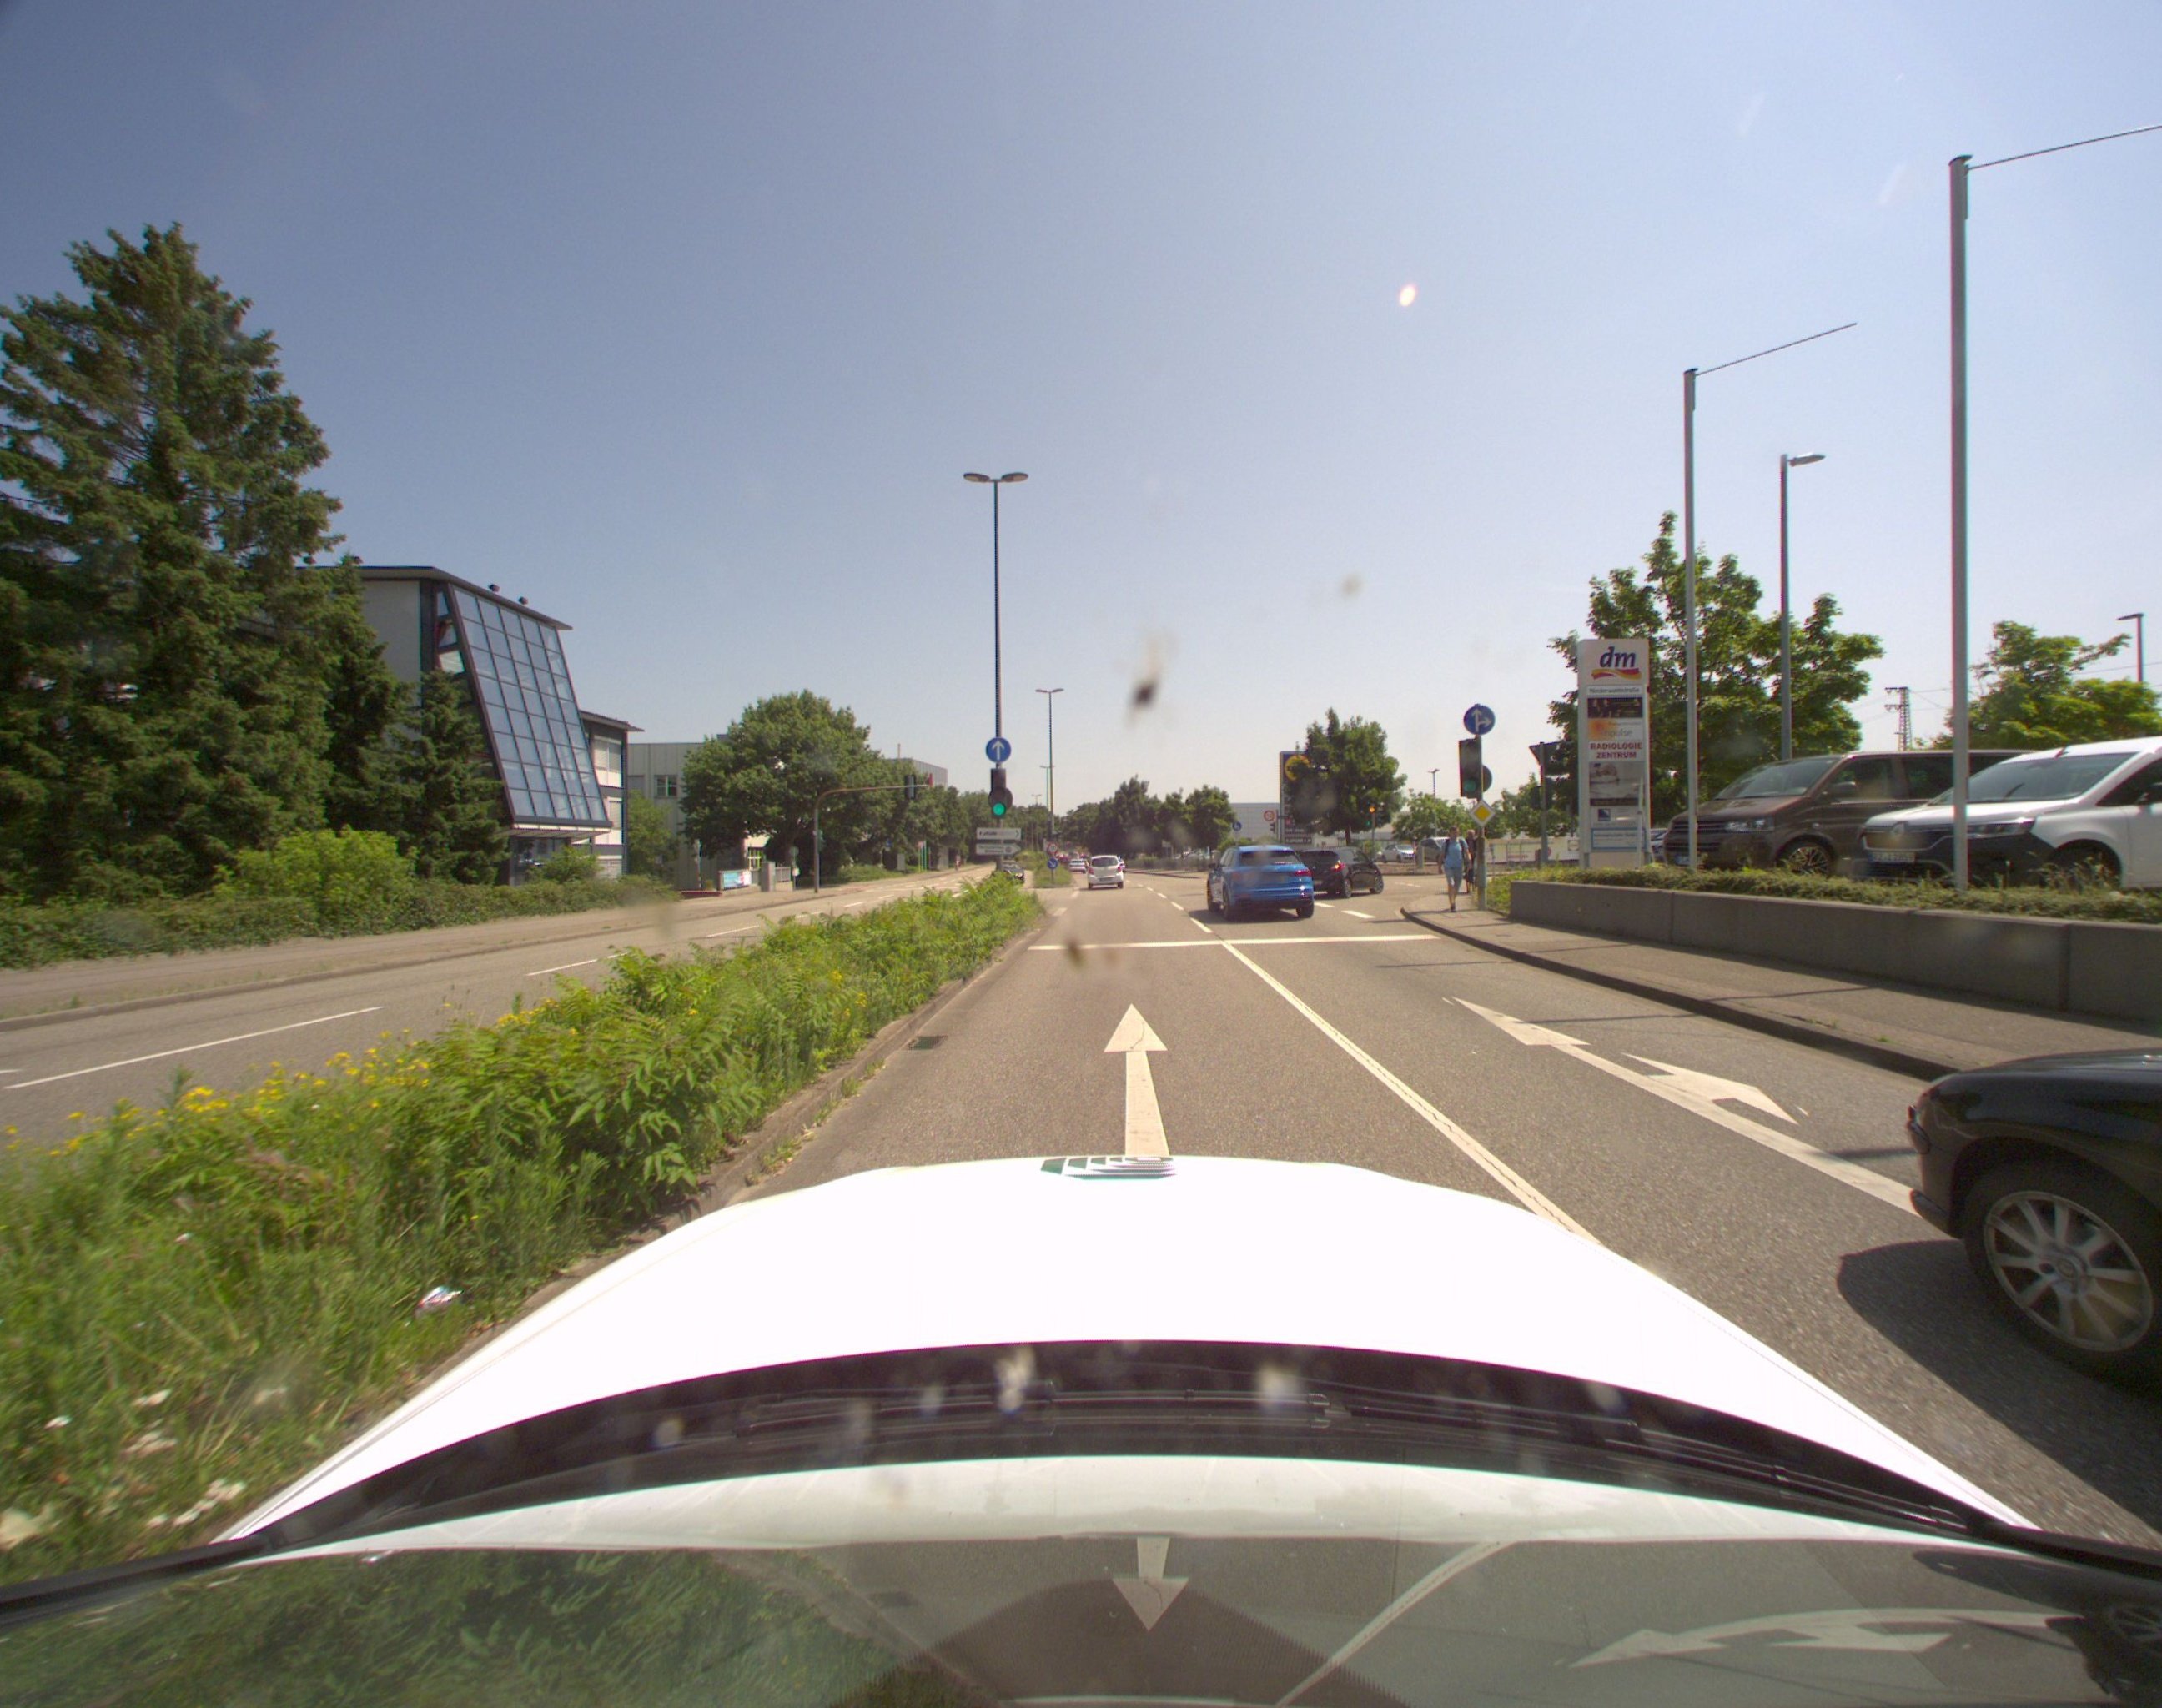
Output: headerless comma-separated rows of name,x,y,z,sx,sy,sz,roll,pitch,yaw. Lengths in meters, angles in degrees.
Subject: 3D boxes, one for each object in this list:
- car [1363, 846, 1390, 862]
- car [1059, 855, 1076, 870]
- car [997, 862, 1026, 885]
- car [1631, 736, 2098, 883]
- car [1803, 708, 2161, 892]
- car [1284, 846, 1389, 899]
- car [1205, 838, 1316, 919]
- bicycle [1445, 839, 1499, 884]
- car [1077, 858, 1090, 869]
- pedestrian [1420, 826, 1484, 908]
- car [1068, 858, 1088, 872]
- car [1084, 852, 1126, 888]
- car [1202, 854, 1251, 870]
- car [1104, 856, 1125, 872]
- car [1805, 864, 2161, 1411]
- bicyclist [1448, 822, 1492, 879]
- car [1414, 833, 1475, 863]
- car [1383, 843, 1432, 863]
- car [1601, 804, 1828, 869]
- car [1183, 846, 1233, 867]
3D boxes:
car,28.234,-0.002,77.813,1.263,1.420,2.952,-2,0,-5
car,-1.562,1.003,94.841,1.878,1.608,4.000,-2,0,0
car,-4.359,1.193,51.467,1.726,1.323,4.143,-2,-1,-4
car,11.065,-0.584,11.819,4.678,1.798,2.183,2,0,0
car,10.967,-0.484,8.890,4.393,1.699,2.000,2,-1,1
car,7.555,0.522,23.940,1.600,1.401,3.452,-2,0,43
car,3.957,0.498,18.632,1.801,1.593,4.353,-2,0,3
bicycle,10.319,0.197,21.582,0.753,1.133,1.912,0,-1,8
car,0.300,1.229,107.805,1.439,1.348,3.454,-2,0,-5
pedestrian,7.506,0.268,16.512,0.825,1.626,1.005,0,-2,1
car,-0.324,1.089,81.142,1.880,1.354,3.996,0,-1,-3
car,1.095,0.749,38.012,1.635,1.552,3.321,-2,-1,-3
car,13.040,0.705,73.092,3.988,1.421,1.695,-1,0,-4
car,3.248,0.996,78.793,1.859,1.473,3.999,0,-1,0
car,3.586,0.729,1.360,1.631,1.356,3.500,-3,0,1
bicyclist,10.320,-0.086,21.636,0.770,1.464,1.093,0,-1,8
car,19.045,-0.306,42.807,1.417,1.438,3.529,-3,0,-4
car,24.067,-0.049,60.134,1.731,1.394,4.074,-2,-1,-4
car,14.777,-0.394,19.128,3.980,1.339,1.860,-2,-1,-5
car,12.511,0.252,80.287,4.607,1.924,1.824,-1,0,-4
